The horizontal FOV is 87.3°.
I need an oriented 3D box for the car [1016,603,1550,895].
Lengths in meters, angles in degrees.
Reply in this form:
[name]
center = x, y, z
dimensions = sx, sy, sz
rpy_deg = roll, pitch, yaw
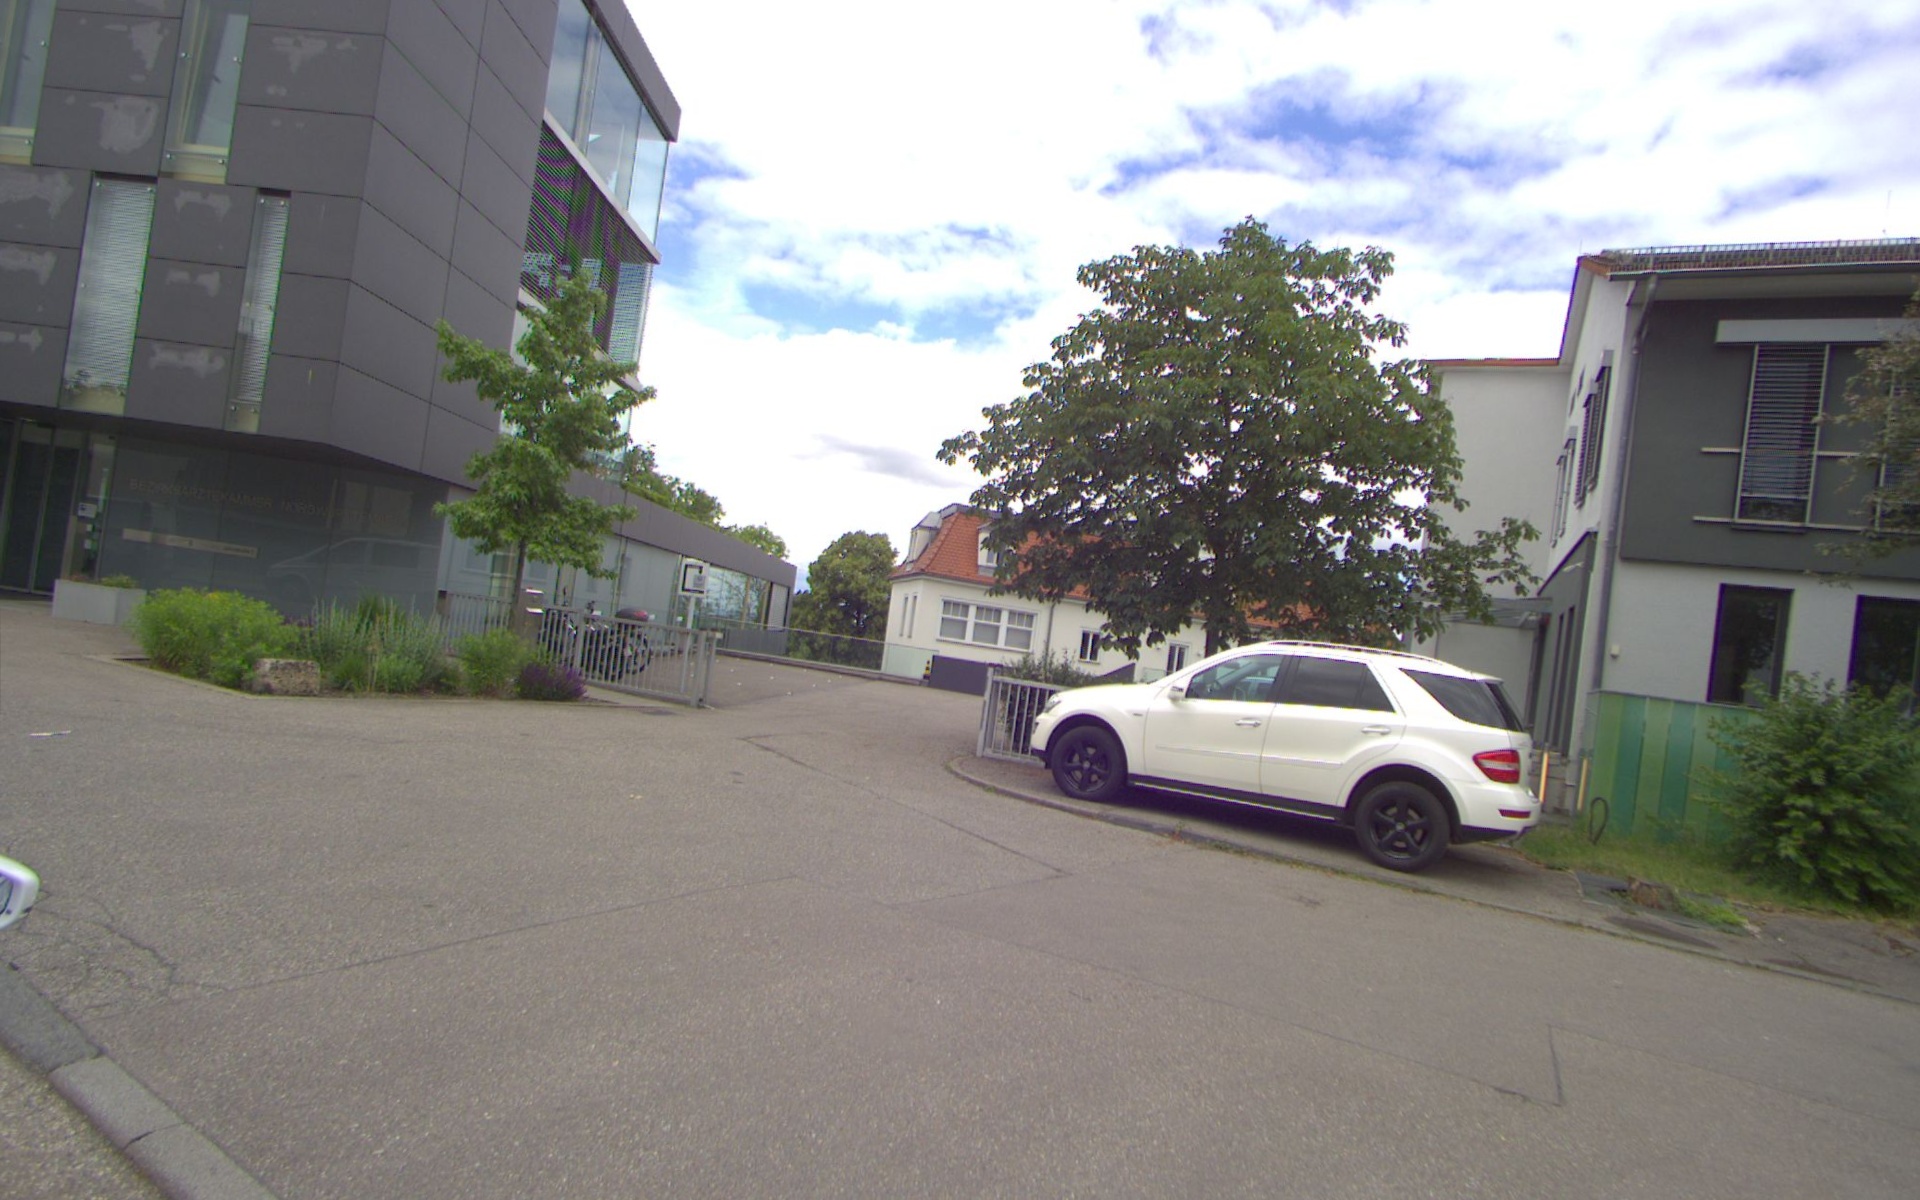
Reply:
[car]
center = 3.044, 1.225, 9.738
dimensions = 4.442, 1.860, 1.996
rpy_deg = 6, -1, 31

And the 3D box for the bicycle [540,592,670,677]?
[bicycle]
center = -6.574, 0.640, 18.662
dimensions = 2.063, 1.275, 0.616
rpy_deg = 8, -1, 5

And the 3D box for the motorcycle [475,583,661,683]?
[motorcycle]
center = -6.500, 0.545, 16.749
dimensions = 2.643, 1.275, 0.850
rpy_deg = 8, -1, 5
